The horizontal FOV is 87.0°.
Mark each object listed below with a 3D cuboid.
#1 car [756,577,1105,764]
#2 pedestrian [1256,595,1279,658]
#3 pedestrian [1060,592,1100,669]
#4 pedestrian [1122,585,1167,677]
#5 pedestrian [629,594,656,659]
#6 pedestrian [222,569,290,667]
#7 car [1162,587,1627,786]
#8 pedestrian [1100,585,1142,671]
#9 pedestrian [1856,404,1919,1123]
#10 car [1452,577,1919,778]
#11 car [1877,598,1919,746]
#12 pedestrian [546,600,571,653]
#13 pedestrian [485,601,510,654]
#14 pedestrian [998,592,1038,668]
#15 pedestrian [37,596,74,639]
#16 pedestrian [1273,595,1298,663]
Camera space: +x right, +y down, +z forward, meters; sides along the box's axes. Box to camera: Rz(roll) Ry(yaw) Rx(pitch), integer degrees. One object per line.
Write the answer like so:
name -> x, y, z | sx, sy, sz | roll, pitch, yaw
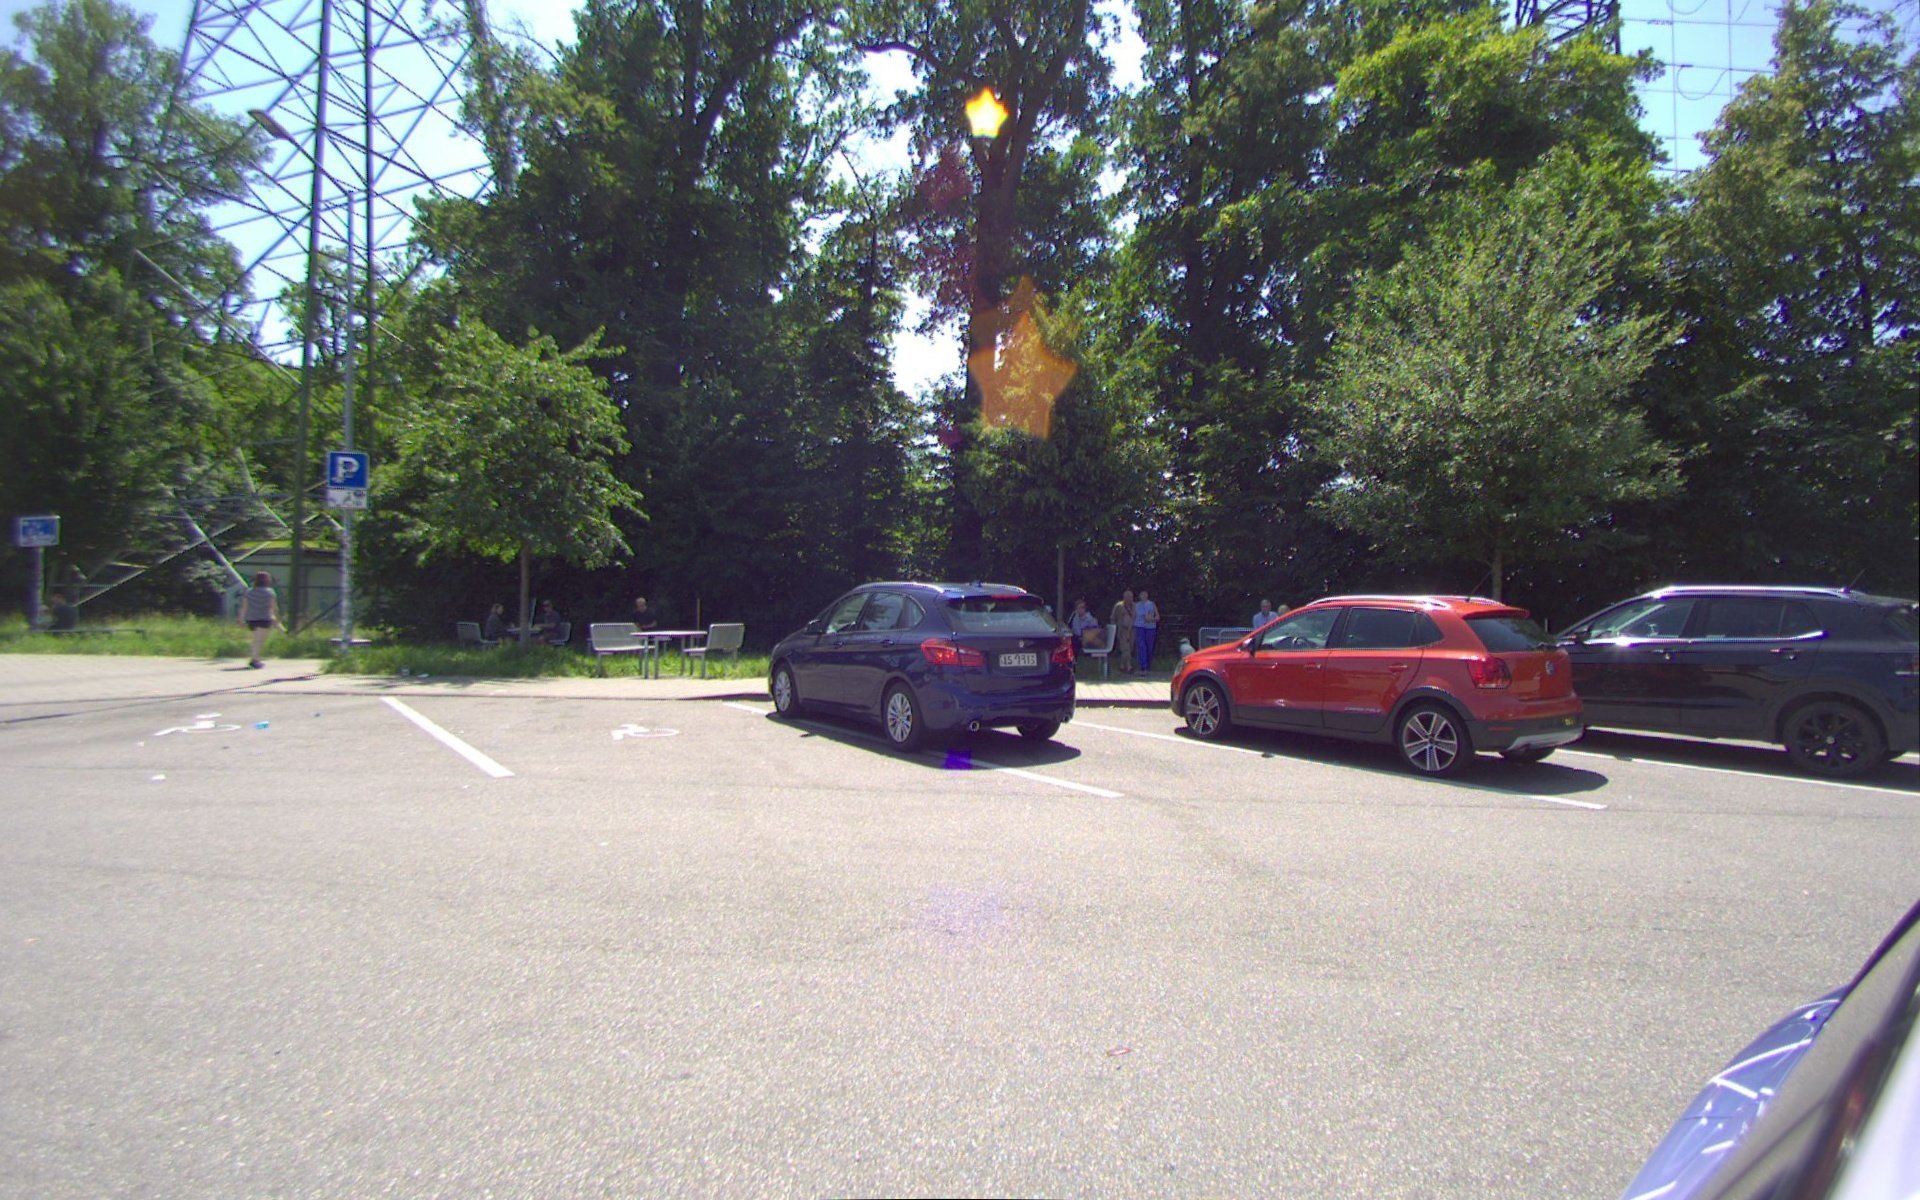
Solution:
car -> -0.548, 0.550, 10.781 | 1.714, 1.572, 4.347 | 0, 1, -33
pedestrian -> 5.812, 0.493, 19.119 | 0.350, 1.180, 0.384 | 0, 0, 8
pedestrian -> 1.995, 0.494, 16.849 | 0.586, 1.261, 0.498 | 0, 0, 16
pedestrian -> 3.335, 0.545, 18.345 | 0.634, 1.625, 0.573 | 0, 0, -9
pedestrian -> -6.694, 0.546, 21.338 | 0.438, 1.363, 0.462 | 0, 0, -5
pedestrian -> -12.200, 0.301, 17.557 | 0.675, 1.670, 0.714 | 0, 0, 6
car -> 3.873, 0.633, 9.641 | 1.619, 1.487, 3.830 | 0, 0, -33
pedestrian -> 3.095, 0.536, 19.503 | 0.634, 1.625, 0.573 | 0, 0, -9
pedestrian -> 3.031, 0.452, 2.500 | 0.799, 1.974, 0.920 | 0, 0, 1
car -> 7.089, 0.592, 9.858 | 1.620, 1.575, 3.826 | 0, 0, -37
car -> 10.890, 0.702, 9.003 | 1.620, 1.420, 3.826 | 0, 0, -37
pedestrian -> -9.353, 0.615, 23.591 | 0.452, 1.209, 0.447 | 0, 0, -34
pedestrian -> -10.441, 0.614, 22.850 | 0.452, 1.182, 0.447 | 0, 0, -34
pedestrian -> 0.982, 0.496, 17.105 | 0.586, 1.261, 0.445 | 0, 0, 16
pedestrian -> -20.959, 0.398, 23.449 | 0.452, 0.987, 0.447 | 0, 0, -2
pedestrian -> 5.763, 0.504, 17.943 | 0.350, 1.180, 0.384 | 0, 0, 8
